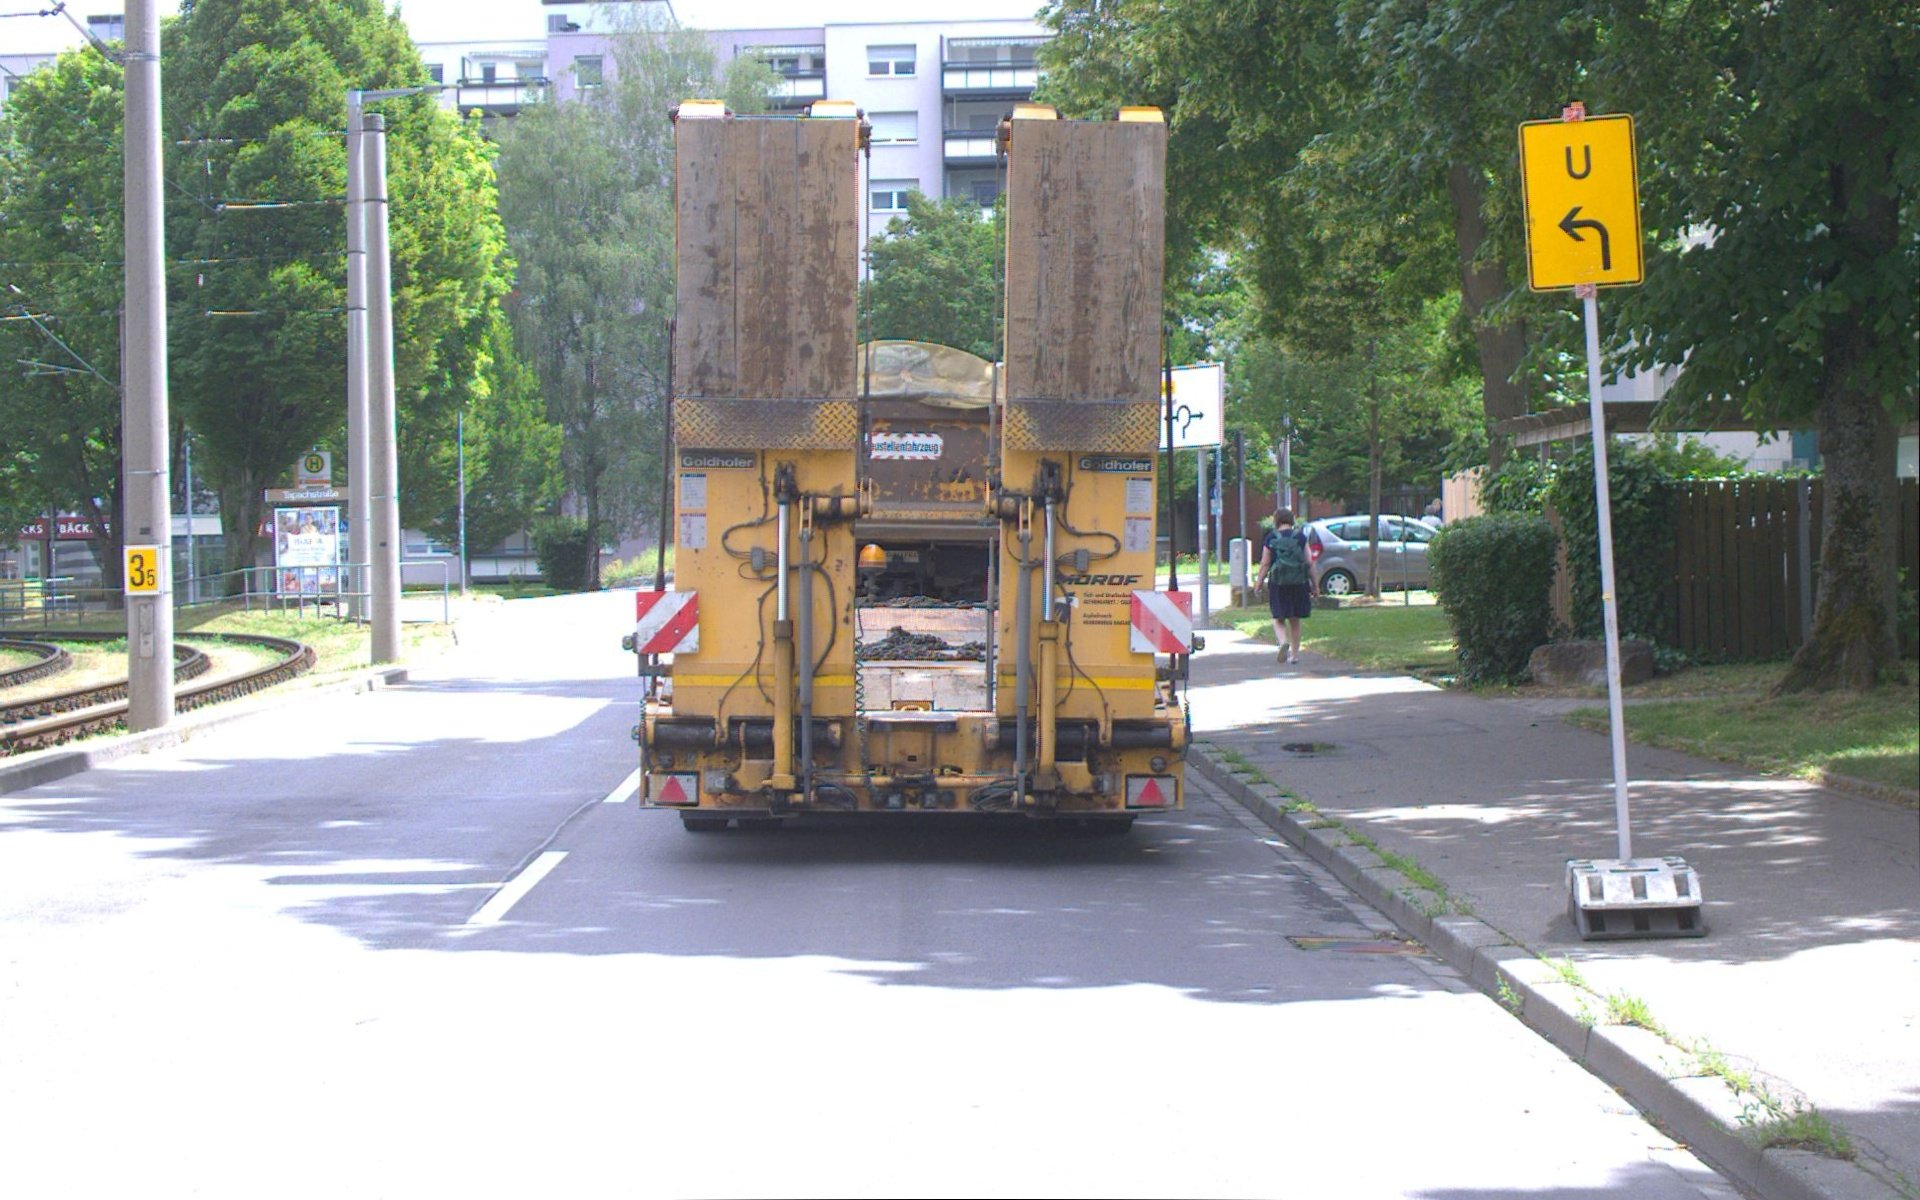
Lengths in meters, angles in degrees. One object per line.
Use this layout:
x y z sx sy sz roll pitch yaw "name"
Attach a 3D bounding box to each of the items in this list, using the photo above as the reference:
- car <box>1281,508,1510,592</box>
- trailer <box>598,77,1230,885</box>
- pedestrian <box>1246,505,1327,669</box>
8.328 -0.951 65.844 3.986 1.556 1.760 0 1 -13 "car"
-0.402 -0.652 21.744 2.827 3.633 12.355 0 1 -2 "trailer"
3.478 -0.147 36.667 0.718 1.700 0.766 -2 1 -1 "pedestrian"
